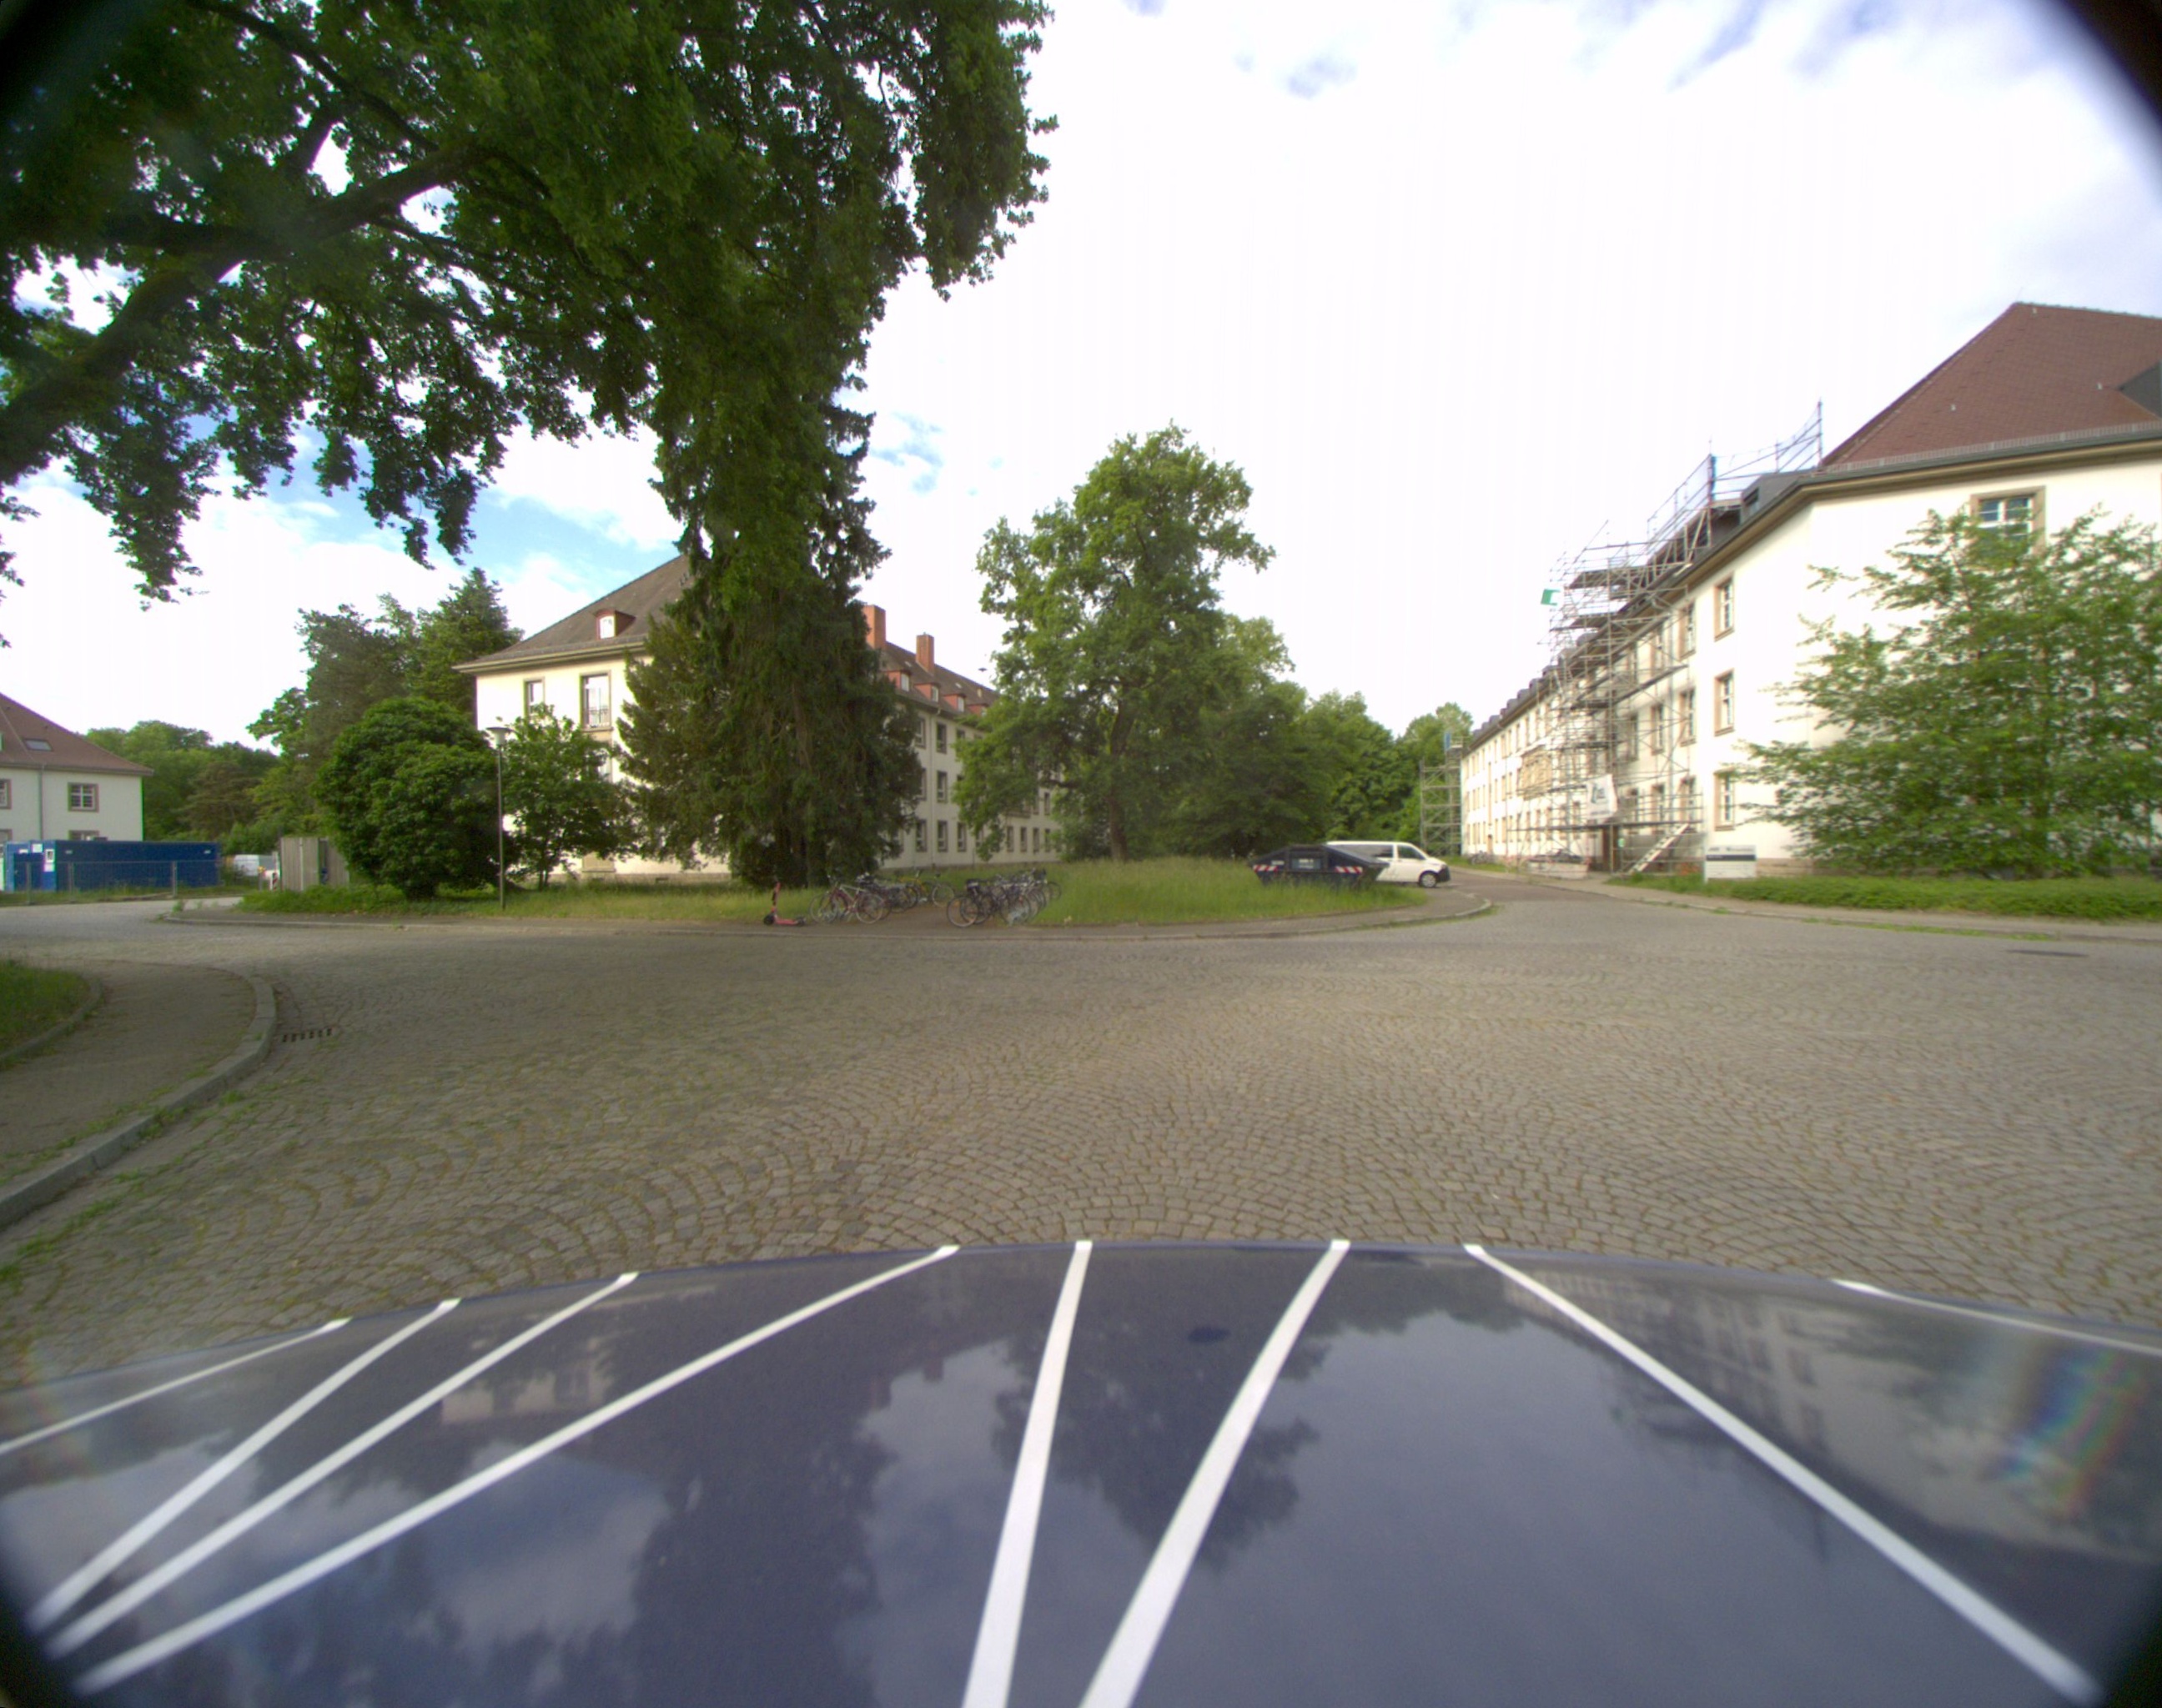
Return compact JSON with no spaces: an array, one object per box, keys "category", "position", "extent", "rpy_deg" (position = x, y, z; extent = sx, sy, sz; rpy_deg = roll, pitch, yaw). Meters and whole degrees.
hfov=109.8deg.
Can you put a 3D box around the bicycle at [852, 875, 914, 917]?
[{"category":"bicycle","position":[-5.302,1.113,20.377],"extent":[1.566,1.082,0.561],"rpy_deg":[-1,1,-12]}]

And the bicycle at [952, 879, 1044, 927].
[{"category":"bicycle","position":[-1.858,1.106,17.158],"extent":[2.017,1.004,0.478],"rpy_deg":[-1,3,-3]}]

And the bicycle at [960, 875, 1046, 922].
[{"category":"bicycle","position":[-1.868,1.061,18.292],"extent":[2.017,1.082,0.478],"rpy_deg":[-1,3,-3]}]

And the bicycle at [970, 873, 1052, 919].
[{"category":"bicycle","position":[-1.727,1.038,18.918],"extent":[2.017,1.082,0.478],"rpy_deg":[-1,3,-3]}]

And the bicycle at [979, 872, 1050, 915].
[{"category":"bicycle","position":[-1.777,1.062,20.530],"extent":[1.865,1.082,0.519],"rpy_deg":[-1,3,-3]}]

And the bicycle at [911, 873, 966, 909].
[{"category":"bicycle","position":[-4.237,1.095,22.652],"extent":[1.565,1.028,0.476],"rpy_deg":[-1,1,-5]}]

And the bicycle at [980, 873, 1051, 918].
[{"category":"bicycle","position":[-1.687,1.070,19.737],"extent":[1.788,1.082,0.478],"rpy_deg":[-1,3,-3]}]

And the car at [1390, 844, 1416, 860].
[{"category":"car","position":[39.808,-0.241,93.959],"extent":[2.025,1.915,4.002],"rpy_deg":[-1,0,8]}]

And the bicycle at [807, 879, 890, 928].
[{"category":"bicycle","position":[-5.542,1.170,18.188],"extent":[1.813,1.082,0.478],"rpy_deg":[-1,3,-8]}]

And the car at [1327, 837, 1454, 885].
[{"category":"car","position":[13.310,0.330,32.994],"extent":[4.909,1.983,2.002],"rpy_deg":[-1,0,16]}]

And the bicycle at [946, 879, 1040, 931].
[{"category":"bicycle","position":[-1.908,1.106,16.668],"extent":[2.017,1.082,0.478],"rpy_deg":[-1,3,-3]}]

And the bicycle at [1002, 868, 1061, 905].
[{"category":"bicycle","position":[-1.570,1.021,24.004],"extent":[1.825,1.082,0.553],"rpy_deg":[-1,3,-3]}]

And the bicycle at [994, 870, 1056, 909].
[{"category":"bicycle","position":[-1.650,1.040,22.432],"extent":[1.807,1.082,0.553],"rpy_deg":[-1,3,-3]}]

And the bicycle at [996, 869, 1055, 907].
[{"category":"bicycle","position":[-1.687,1.034,23.213],"extent":[1.750,1.082,0.553],"rpy_deg":[-1,3,-3]}]

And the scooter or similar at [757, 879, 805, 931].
[{"category":"scooter or similar","position":[-7.053,1.195,17.871],"extent":[1.061,1.188,0.386],"rpy_deg":[-1,1,21]}]

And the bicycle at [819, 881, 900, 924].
[{"category":"bicycle","position":[-5.454,1.192,18.765],"extent":[1.856,0.984,0.456],"rpy_deg":[-1,1,-8]}]
